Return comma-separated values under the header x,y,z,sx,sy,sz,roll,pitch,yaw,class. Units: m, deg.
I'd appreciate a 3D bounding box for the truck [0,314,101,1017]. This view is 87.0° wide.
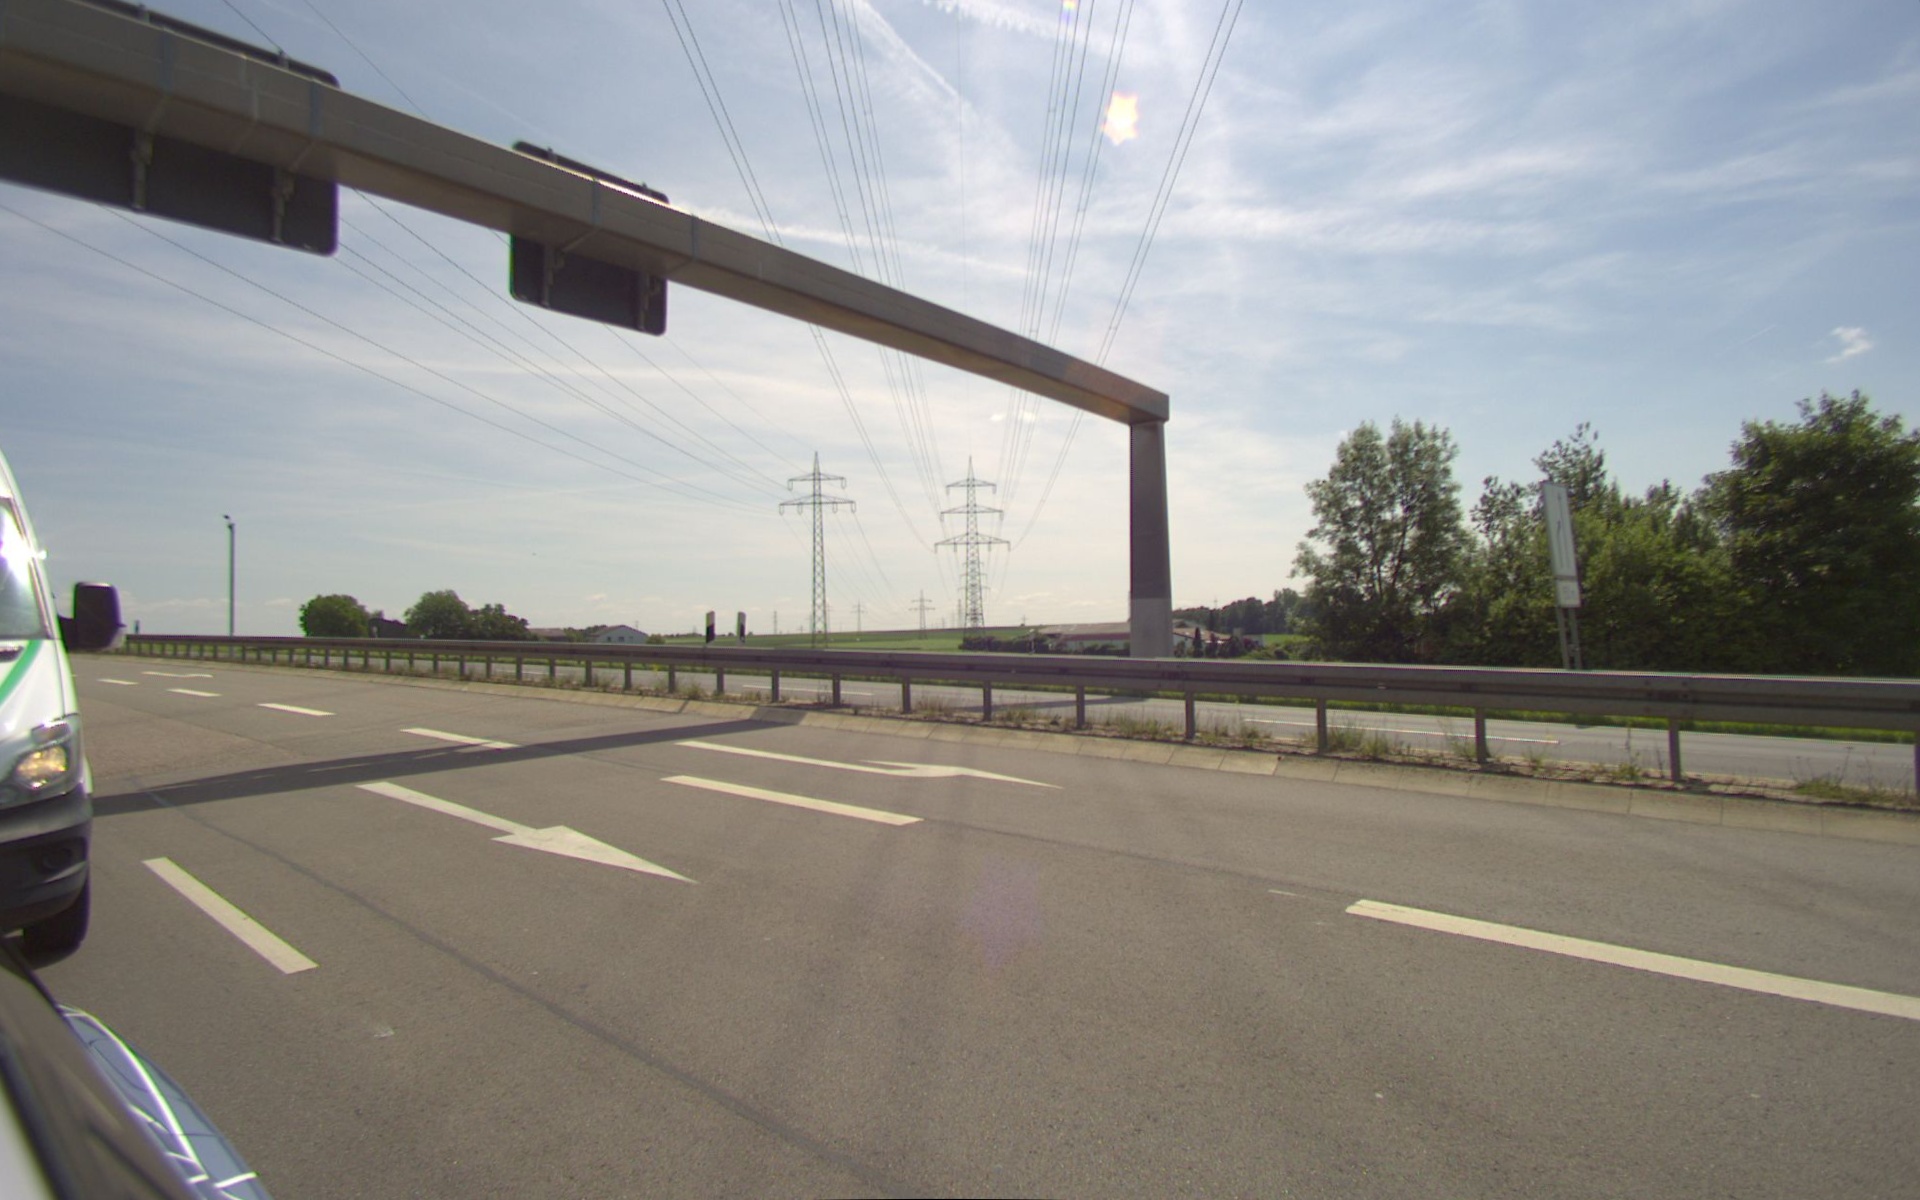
x,y,z,sx,sy,sz,roll,pitch,yaw,class
-5.833,0.277,4.884,5.105,2.552,1.972,-1,-1,43,truck
